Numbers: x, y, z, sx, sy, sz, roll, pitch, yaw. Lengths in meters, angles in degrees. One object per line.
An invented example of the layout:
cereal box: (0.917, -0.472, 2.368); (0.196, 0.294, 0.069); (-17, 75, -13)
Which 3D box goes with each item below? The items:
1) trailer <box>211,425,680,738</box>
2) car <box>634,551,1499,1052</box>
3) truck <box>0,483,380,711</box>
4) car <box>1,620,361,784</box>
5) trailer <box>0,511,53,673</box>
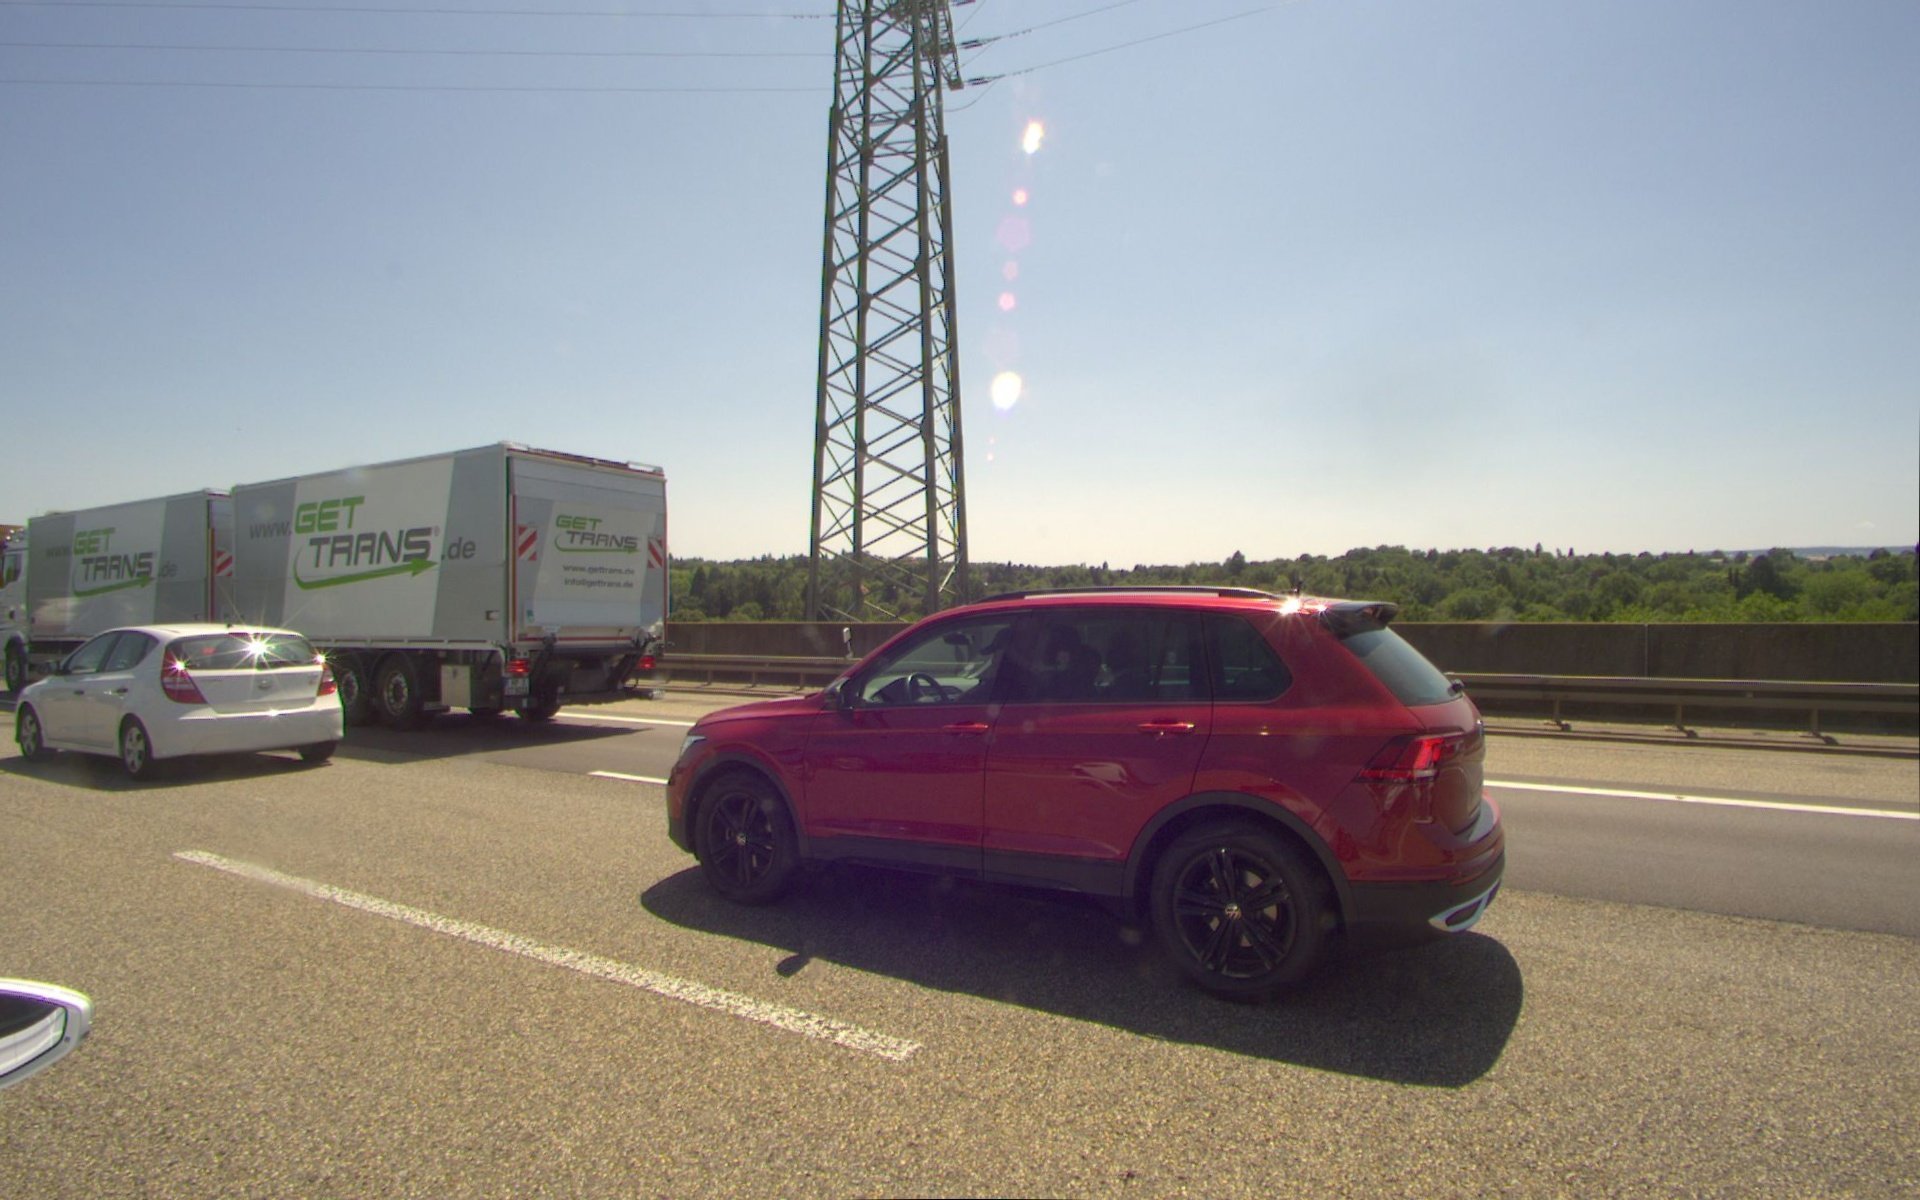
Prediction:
trailer: (-8.044, -0.166, 15.228); (7.899, 3.748, 2.693); (-1, 0, 32)
car: (0.404, 0.717, 5.230); (4.163, 1.683, 1.772); (-1, -1, 32)
truck: (-15.992, 0.028, 20.226); (10.851, 3.695, 2.652); (-1, 0, 32)
car: (-8.576, 0.958, 10.935); (4.232, 1.474, 1.785); (-1, -1, 32)
trailer: (-29.424, -0.134, 28.654); (8.883, 4.293, 2.860); (-1, -2, 32)
